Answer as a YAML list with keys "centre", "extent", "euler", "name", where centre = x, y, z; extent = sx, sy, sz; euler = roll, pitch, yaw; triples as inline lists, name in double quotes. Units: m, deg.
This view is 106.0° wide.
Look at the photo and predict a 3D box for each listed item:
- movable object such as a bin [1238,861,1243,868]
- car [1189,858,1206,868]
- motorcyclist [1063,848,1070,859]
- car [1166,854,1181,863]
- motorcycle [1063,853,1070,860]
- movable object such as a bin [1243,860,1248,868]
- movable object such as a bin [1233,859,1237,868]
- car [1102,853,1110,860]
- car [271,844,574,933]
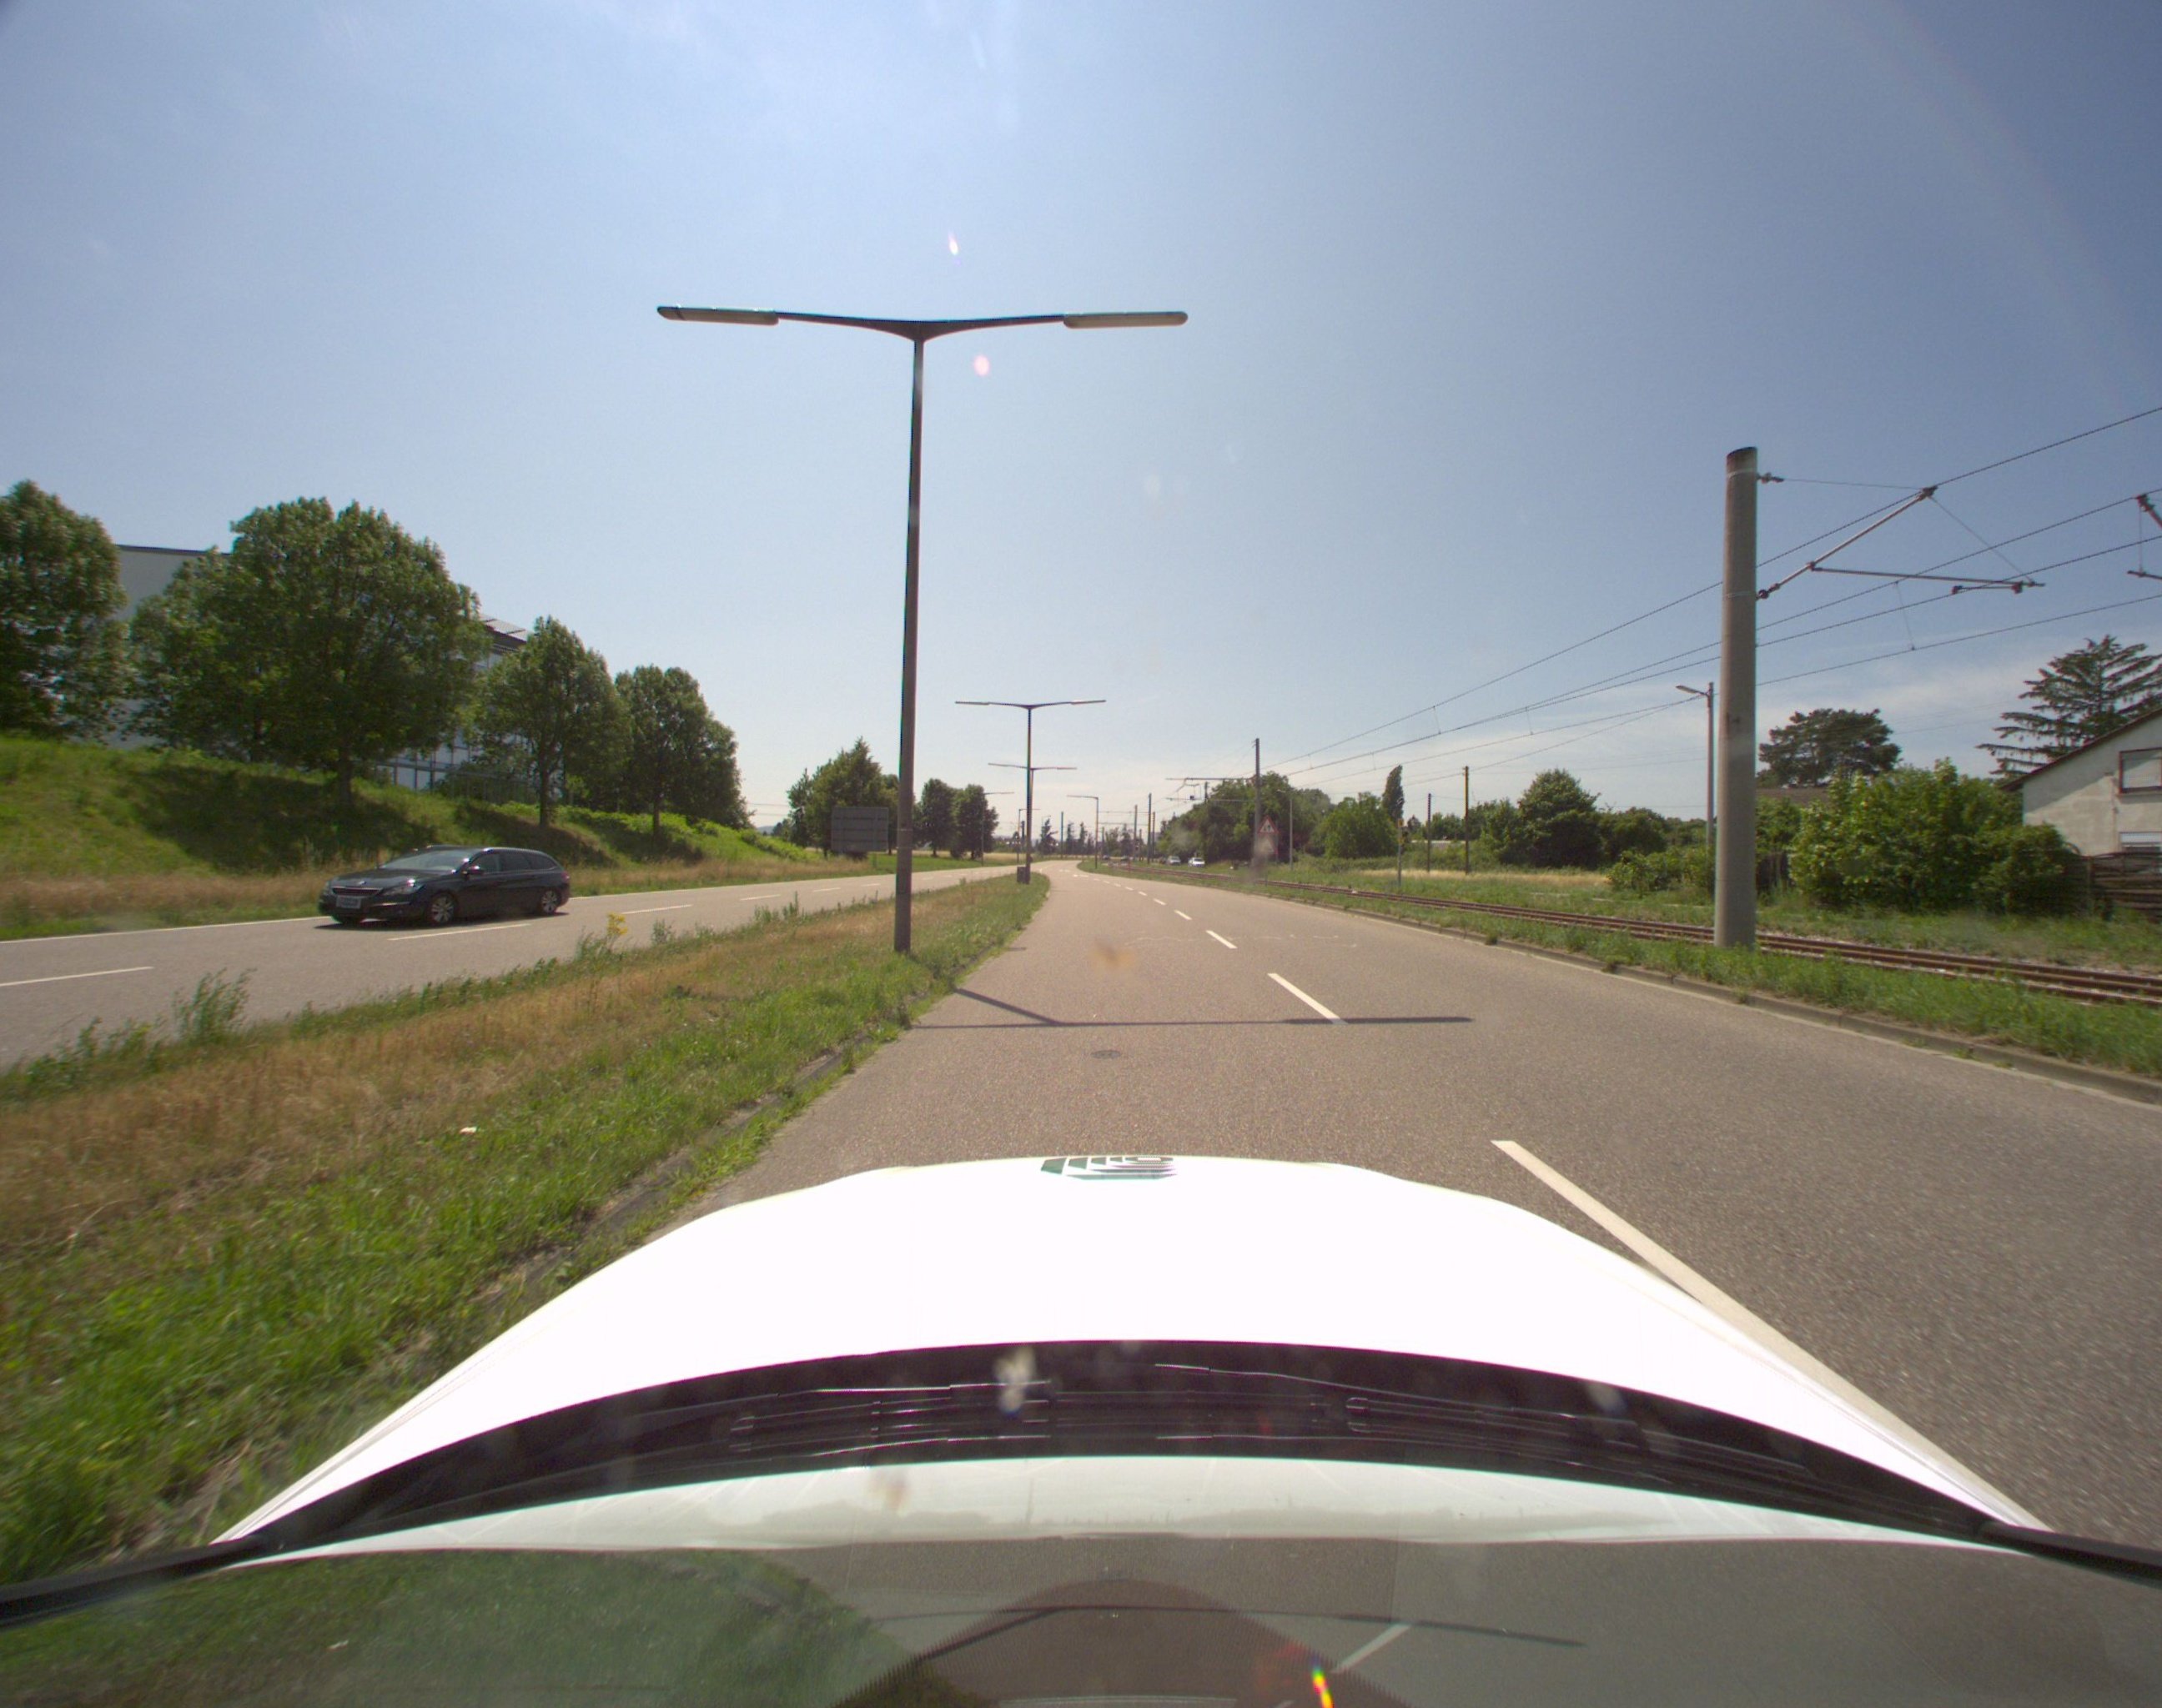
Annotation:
- centre: [19.465, 1.307, 99.233]
  extent: [0.522, 0.864, 0.500]
  euler: [1, 0, 8]
  name: "movable object such as a bin"
- centre: [15.215, 1.188, 106.182]
  extent: [1.560, 1.179, 3.074]
  euler: [1, 0, -5]
  name: "car"
- centre: [-3.272, -0.034, 184.119]
  extent: [1.225, 2.351, 1.108]
  euler: [3, -1, 4]
  name: "motorcyclist"
- centre: [14.711, 0.737, 129.760]
  extent: [1.668, 1.397, 3.646]
  euler: [3, -1, -3]
  name: "car"
- centre: [-3.275, 0.637, 184.136]
  extent: [0.985, 1.580, 3.404]
  euler: [3, -1, 4]
  name: "motorcycle"
- centre: [20.019, 1.229, 99.127]
  extent: [0.522, 1.050, 0.500]
  euler: [1, 0, 8]
  name: "movable object such as a bin"
- centre: [18.777, 1.172, 99.342]
  extent: [0.522, 1.050, 0.500]
  euler: [1, 0, 8]
  name: "movable object such as a bin"
- centre: [6.649, 0.758, 214.914]
  extent: [1.393, 1.772, 3.266]
  euler: [2, -1, 14]
  name: "car"
- centre: [-12.161, 0.550, 15.586]
  extent: [1.988, 1.360, 4.664]
  euler: [3, 0, -1]
  name: "car"
